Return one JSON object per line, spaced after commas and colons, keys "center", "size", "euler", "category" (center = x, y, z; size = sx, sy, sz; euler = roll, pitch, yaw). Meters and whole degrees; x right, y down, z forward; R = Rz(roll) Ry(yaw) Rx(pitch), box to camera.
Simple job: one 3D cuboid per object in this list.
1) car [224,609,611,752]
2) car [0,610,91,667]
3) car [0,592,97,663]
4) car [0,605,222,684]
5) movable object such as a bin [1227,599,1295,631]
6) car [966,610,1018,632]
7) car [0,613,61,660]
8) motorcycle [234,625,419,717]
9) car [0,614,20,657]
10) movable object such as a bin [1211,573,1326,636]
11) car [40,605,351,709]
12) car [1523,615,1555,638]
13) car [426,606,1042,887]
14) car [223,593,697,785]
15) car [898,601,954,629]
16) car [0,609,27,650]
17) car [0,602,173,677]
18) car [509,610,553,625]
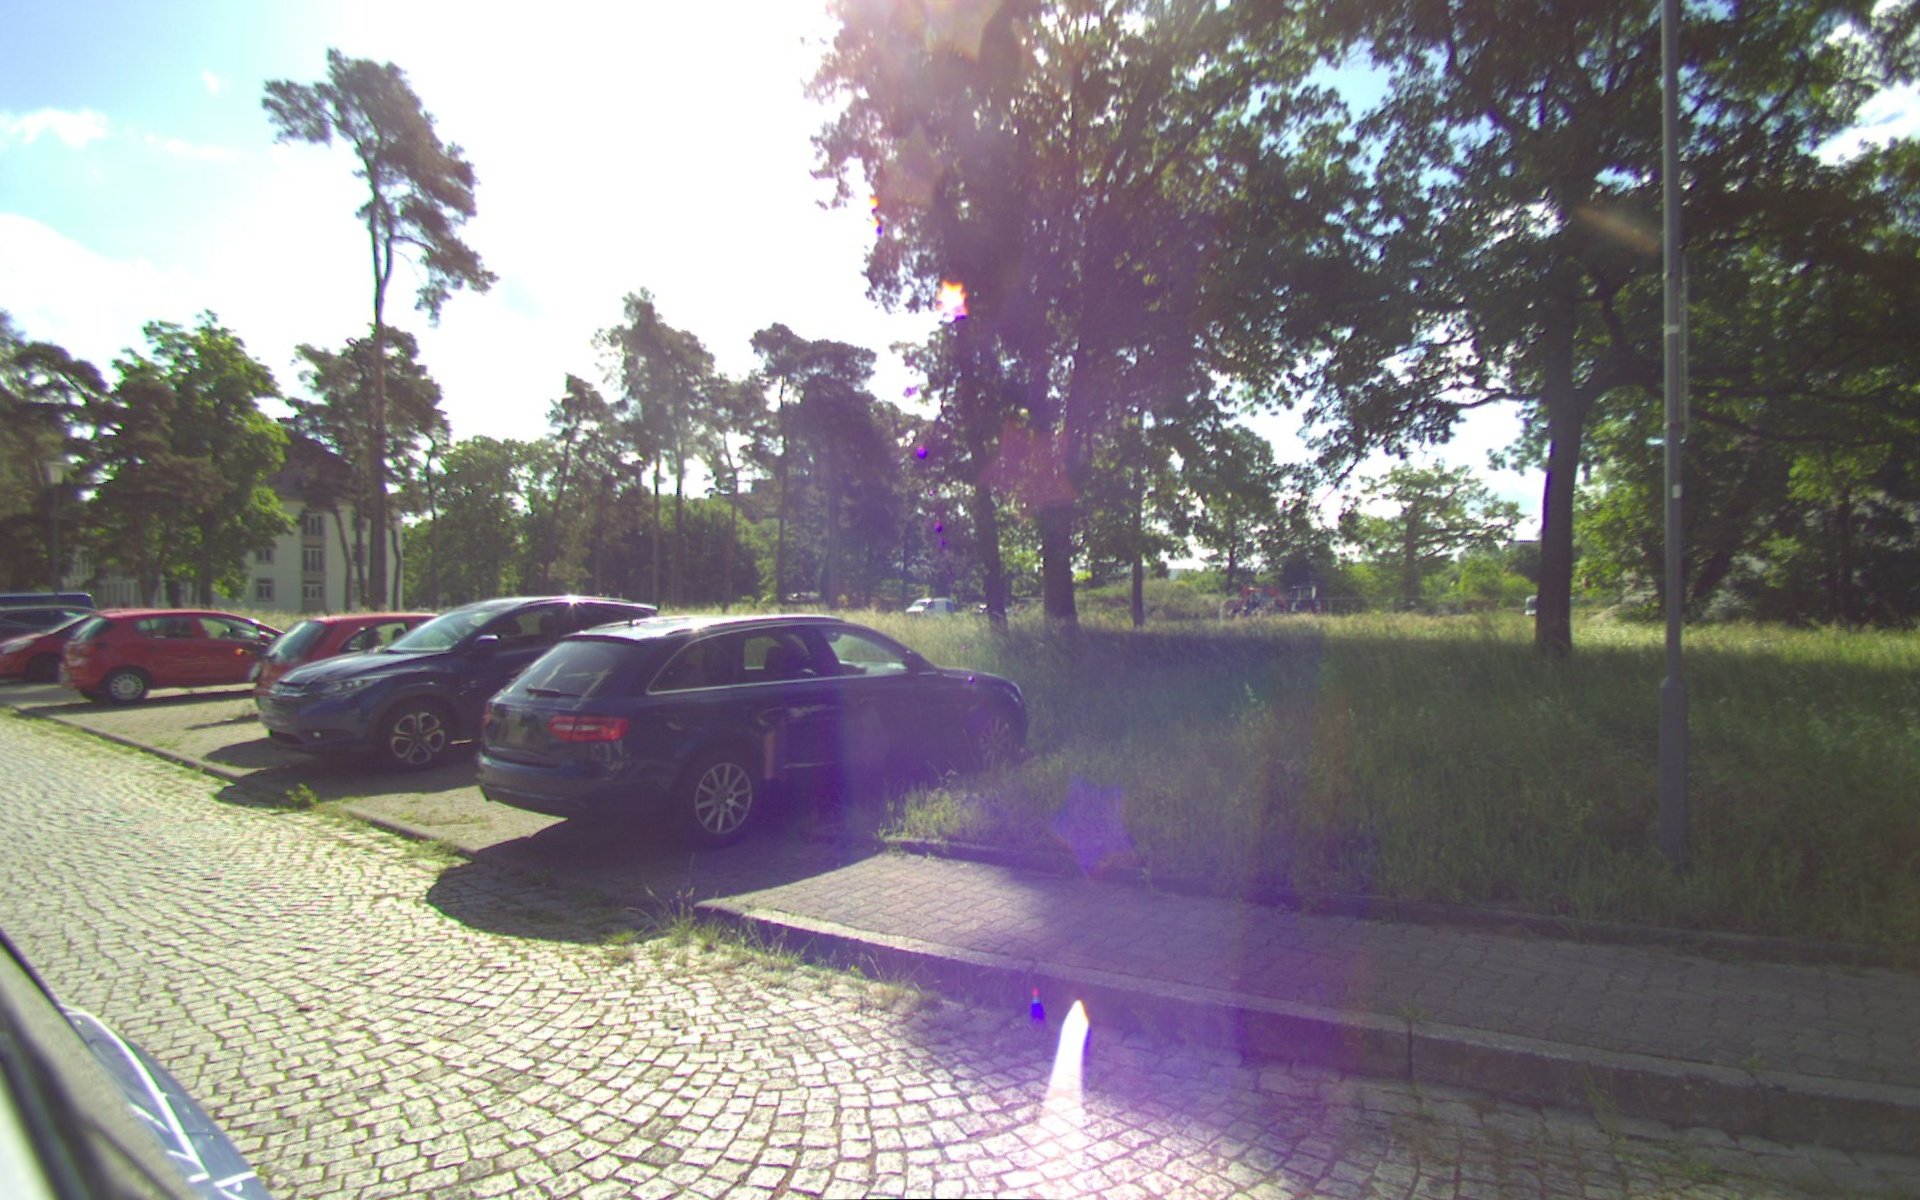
{"center": [-6.646, 0.871, 12.725], "size": [1.840, 1.443, 3.884], "euler": [-1, 0, 39], "category": "car"}
{"center": [-26.183, 1.047, 27.363], "size": [1.679, 1.451, 3.783], "euler": [-1, 1, 35], "category": "car"}
{"center": [-28.091, 0.807, 29.096], "size": [2.003, 1.982, 4.673], "euler": [-1, 1, 38], "category": "car"}
{"center": [-18.782, 0.917, 22.135], "size": [1.863, 1.460, 3.888], "euler": [-1, 1, 37], "category": "car"}
{"center": [20.589, 1.024, 69.501], "size": [2.489, 2.141, 5.687], "euler": [0, -1, -6], "category": "movable object such as a bin"}
{"center": [2.519, 1.610, 78.760], "size": [1.910, 1.617, 4.187], "euler": [-1, -1, 39], "category": "car"}
{"center": [-32.006, 1.221, 32.720], "size": [1.821, 1.486, 4.156], "euler": [-1, 0, 38], "category": "car"}
{"center": [-9.146, 0.988, 14.713], "size": [0.576, 1.170, 2.220], "euler": [-1, 0, 39], "category": "motorcycle"}
{"center": [-34.584, 1.260, 34.094], "size": [1.921, 1.436, 4.037], "euler": [-1, 0, 39], "category": "car"}
{"center": [19.326, 0.306, 63.921], "size": [6.727, 3.759, 3.913], "euler": [0, -1, 15], "category": "movable object such as a bin"}
{"center": [-12.928, 0.884, 17.307], "size": [1.839, 1.472, 3.888], "euler": [-1, 0, 37], "category": "car"}
{"center": [47.114, 2.136, 82.402], "size": [1.984, 1.868, 4.101], "euler": [0, -1, 25], "category": "car"}
{"center": [-1.427, 0.817, 7.750], "size": [1.920, 1.456, 4.314], "euler": [-1, 0, 41], "category": "car"}
{"center": [-5.052, 0.752, 10.709], "size": [1.882, 1.591, 4.096], "euler": [-1, 0, 38], "category": "car"}
{"center": [-2.719, 1.228, 82.664], "size": [1.955, 2.180, 4.798], "euler": [-1, -1, 39], "category": "car"}
{"center": [-36.446, 1.122, 36.393], "size": [1.820, 1.463, 4.037], "euler": [0, 1, 39], "category": "car"}
{"center": [-21.094, 0.898, 23.608], "size": [1.970, 1.579, 3.918], "euler": [-2, 0, 37], "category": "car"}
{"center": [-47.339, 1.920, 111.725], "size": [1.719, 1.593, 4.054], "euler": [-1, -1, 40], "category": "car"}
